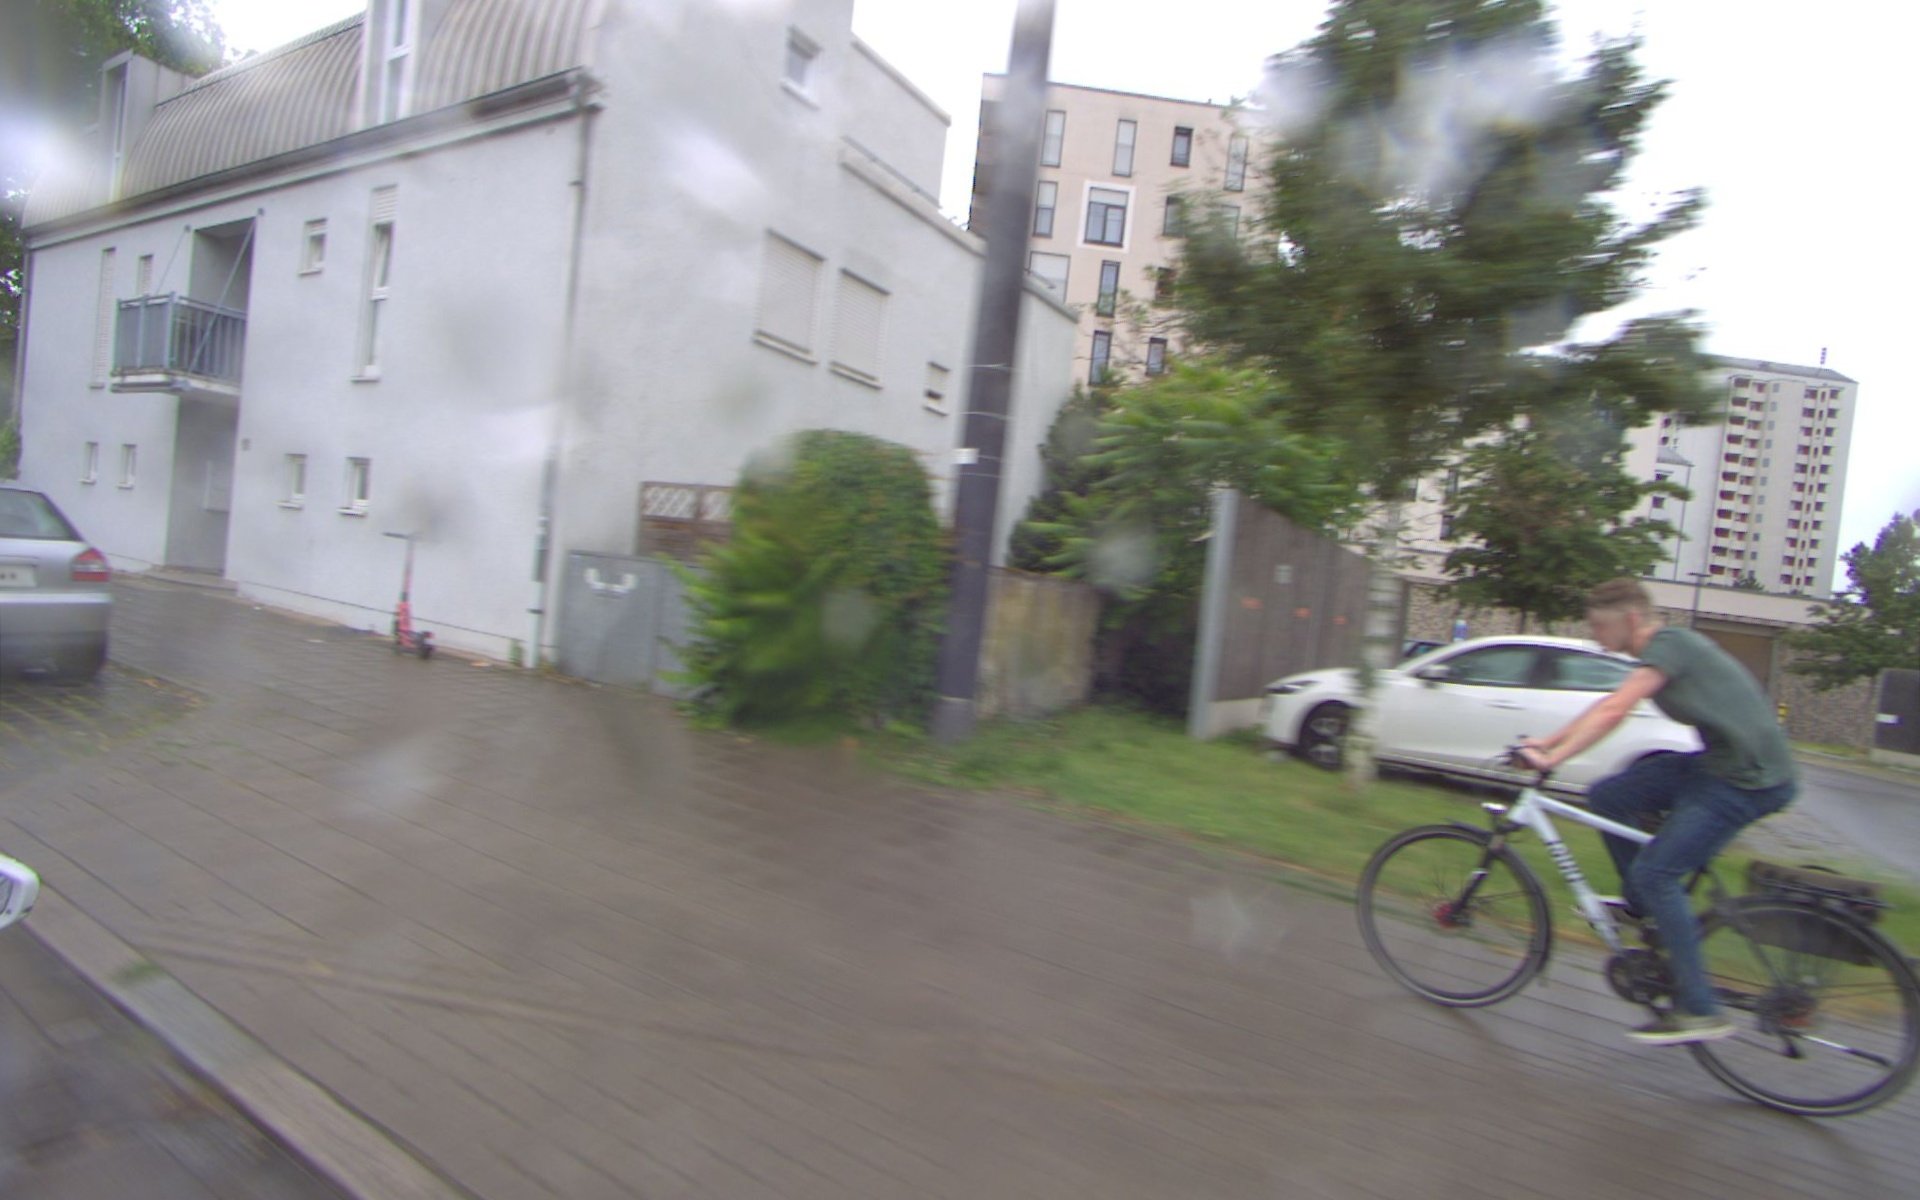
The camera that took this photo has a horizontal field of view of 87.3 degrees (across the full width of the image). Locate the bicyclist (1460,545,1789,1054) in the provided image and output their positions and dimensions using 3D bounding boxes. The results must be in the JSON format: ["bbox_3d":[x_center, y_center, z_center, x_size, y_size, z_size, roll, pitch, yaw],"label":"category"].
[{"bbox_3d":[2.319,0.647,3.613,0.758,1.579,0.535,6,0,24],"label":"bicyclist"}]

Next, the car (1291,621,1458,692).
[{"bbox_3d":[12.883,1.728,31.468,4.283,1.554,1.969,8,0,0],"label":"car"}]

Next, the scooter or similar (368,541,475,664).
[{"bbox_3d":[-5.424,0.008,10.104,1.375,1.098,0.333,6,0,38],"label":"scooter or similar"}]

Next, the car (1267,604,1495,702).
[{"bbox_3d":[9.534,1.170,23.124,4.281,1.554,1.970,8,0,5],"label":"car"}]

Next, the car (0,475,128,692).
[{"bbox_3d":[-8.269,-0.306,7.693,4.574,1.425,1.649,6,4,33],"label":"car"}]

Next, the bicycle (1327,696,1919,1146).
[{"bbox_3d":[2.389,1.028,3.558,1.914,1.106,0.537,6,0,25],"label":"bicycle"}]

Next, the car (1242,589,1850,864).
[{"bbox_3d":[5.119,0.987,9.329,4.293,1.554,1.965,8,0,34],"label":"car"}]

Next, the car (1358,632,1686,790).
[{"bbox_3d":[7.654,1.456,14.057,3.599,1.465,1.968,8,0,27],"label":"car"}]
